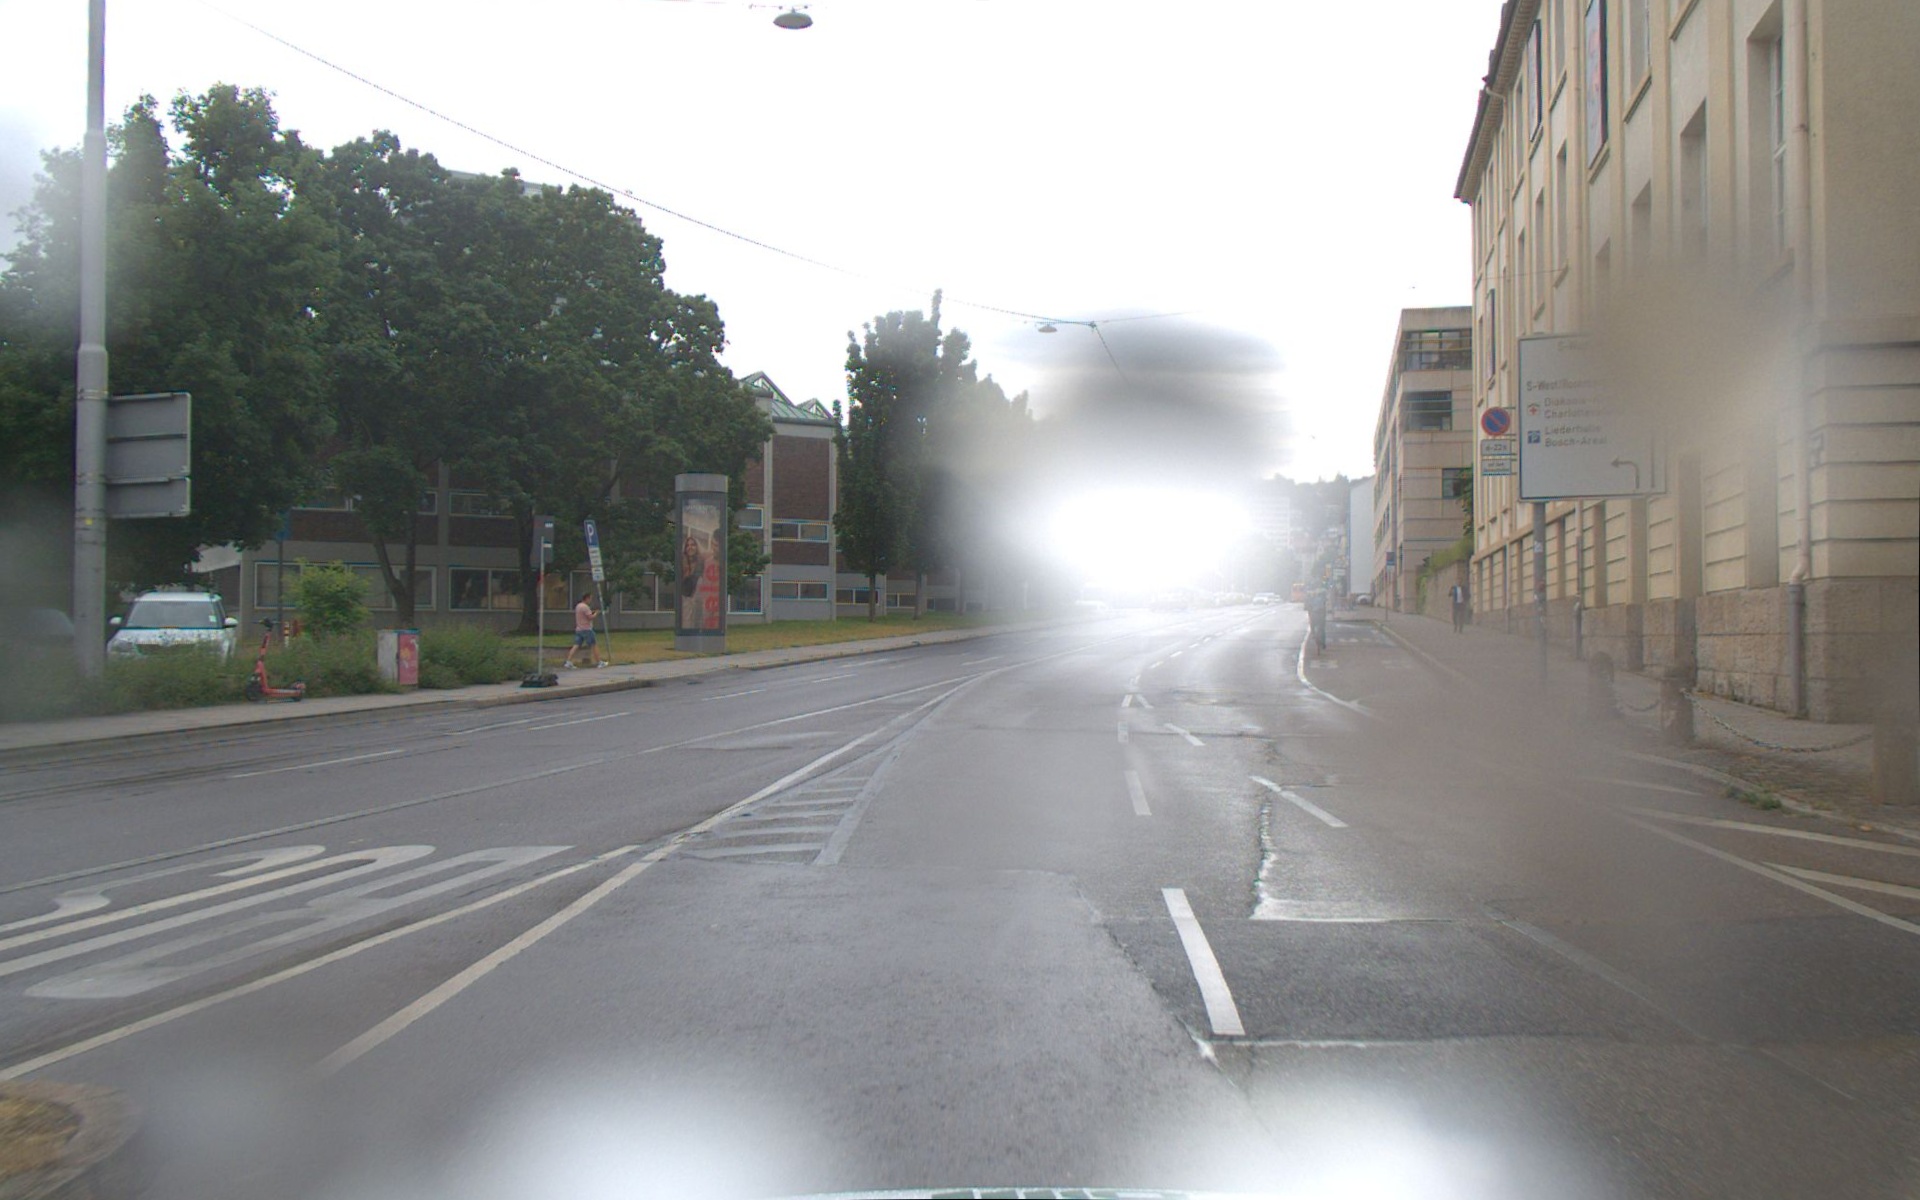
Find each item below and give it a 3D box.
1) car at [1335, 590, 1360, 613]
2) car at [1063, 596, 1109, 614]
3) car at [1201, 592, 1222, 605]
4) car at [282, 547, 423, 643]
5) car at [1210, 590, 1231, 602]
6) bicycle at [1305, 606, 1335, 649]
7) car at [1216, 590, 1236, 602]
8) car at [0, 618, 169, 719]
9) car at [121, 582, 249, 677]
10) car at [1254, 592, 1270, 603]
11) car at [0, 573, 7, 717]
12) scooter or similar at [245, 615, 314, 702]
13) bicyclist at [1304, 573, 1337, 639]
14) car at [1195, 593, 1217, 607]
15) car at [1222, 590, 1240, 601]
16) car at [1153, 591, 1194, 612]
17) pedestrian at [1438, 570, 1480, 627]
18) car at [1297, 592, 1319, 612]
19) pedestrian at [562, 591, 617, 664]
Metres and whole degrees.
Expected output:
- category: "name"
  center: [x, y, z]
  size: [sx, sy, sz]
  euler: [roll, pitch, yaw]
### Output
- category: "car"
  center: [29.141, 0.071, 124.336]
  size: [1.799, 1.587, 4.004]
  euler: [1, 2, 14]
- category: "car"
  center: [14.580, 0.569, 190.985]
  size: [5.115, 2.049, 2.002]
  euler: [1, 0, 12]
- category: "car"
  center: [26.597, -0.180, 175.084]
  size: [1.800, 1.256, 3.419]
  euler: [1, 2, 16]
- category: "car"
  center: [-11.946, -0.052, 32.777]
  size: [1.813, 1.773, 4.067]
  euler: [-1, -1, -8]
- category: "car"
  center: [29.129, -0.473, 184.880]
  size: [1.800, 1.256, 3.419]
  euler: [1, 2, 16]
- category: "bicycle"
  center: [9.299, 0.701, 42.720]
  size: [0.632, 1.075, 1.822]
  euler: [0, 0, 16]
- category: "car"
  center: [30.777, -0.516, 191.312]
  size: [1.800, 1.256, 3.419]
  euler: [1, 2, 16]
- category: "car"
  center: [-13.188, 0.936, 23.896]
  size: [3.431, 1.241, 1.826]
  euler: [2, 0, 37]
- category: "car"
  center: [-13.121, 0.444, 27.903]
  size: [1.826, 1.467, 4.040]
  euler: [0, 0, -27]
- category: "car"
  center: [39.331, -0.355, 215.285]
  size: [1.800, 1.377, 3.419]
  euler: [1, 2, 16]
- category: "car"
  center: [-14.011, 0.533, 21.139]
  size: [3.922, 1.799, 1.826]
  euler: [1, 1, 37]
- category: "scooter or similar"
  center: [-10.377, 0.879, 25.231]
  size: [0.448, 1.288, 0.977]
  euler: [1, 0, 17]
- category: "bicyclist"
  center: [9.325, 0.143, 42.760]
  size: [0.685, 1.661, 1.129]
  euler: [1, 0, 19]
- category: "car"
  center: [25.466, -0.028, 170.874]
  size: [1.800, 1.256, 3.419]
  euler: [1, 2, 16]
- category: "car"
  center: [33.275, -0.596, 202.713]
  size: [1.800, 1.256, 3.419]
  euler: [1, 2, 16]
- category: "car"
  center: [18.105, 0.097, 140.419]
  size: [1.869, 1.653, 3.617]
  euler: [-1, 2, -26]
- category: "pedestrian"
  center: [16.394, -0.054, 54.384]
  size: [1.213, 1.820, 1.596]
  euler: [-3, -1, 16]
- category: "car"
  center: [30.610, 0.151, 145.527]
  size: [1.799, 1.587, 4.004]
  euler: [1, 2, 14]
- category: "pedestrian"
  center: [-8.274, 0.605, 36.974]
  size: [0.788, 1.598, 0.957]
  euler: [1, 0, 23]
